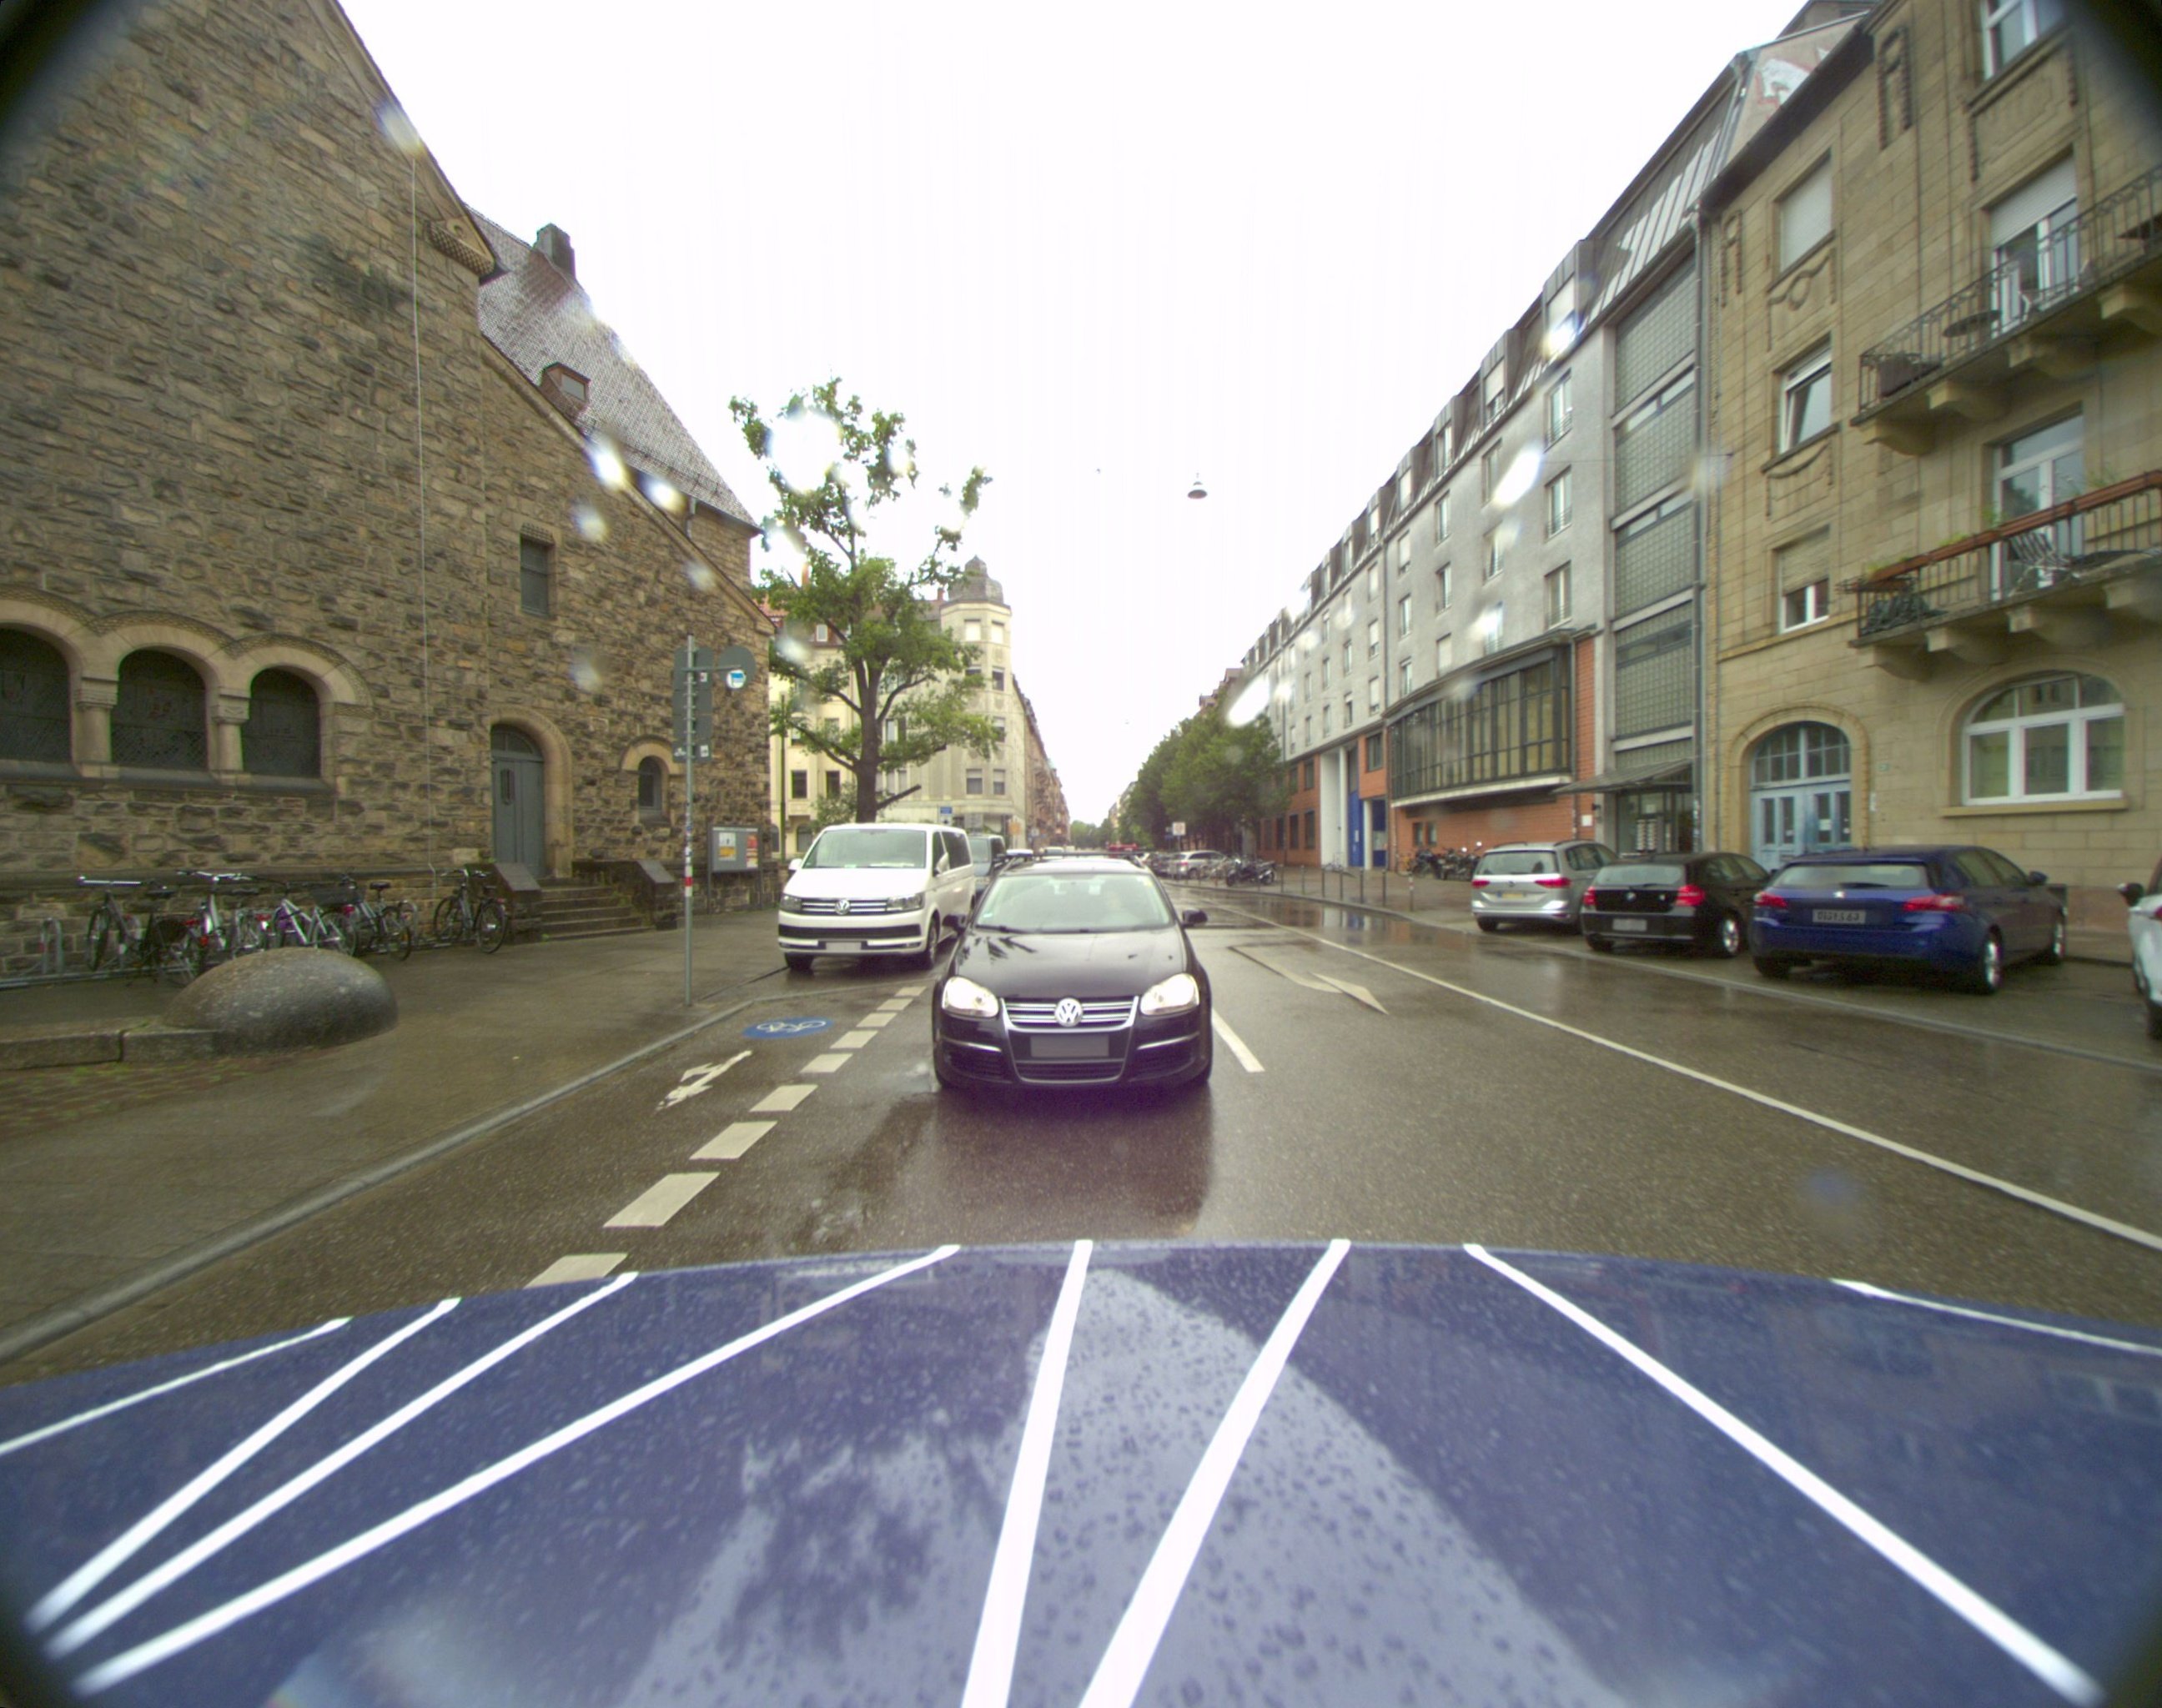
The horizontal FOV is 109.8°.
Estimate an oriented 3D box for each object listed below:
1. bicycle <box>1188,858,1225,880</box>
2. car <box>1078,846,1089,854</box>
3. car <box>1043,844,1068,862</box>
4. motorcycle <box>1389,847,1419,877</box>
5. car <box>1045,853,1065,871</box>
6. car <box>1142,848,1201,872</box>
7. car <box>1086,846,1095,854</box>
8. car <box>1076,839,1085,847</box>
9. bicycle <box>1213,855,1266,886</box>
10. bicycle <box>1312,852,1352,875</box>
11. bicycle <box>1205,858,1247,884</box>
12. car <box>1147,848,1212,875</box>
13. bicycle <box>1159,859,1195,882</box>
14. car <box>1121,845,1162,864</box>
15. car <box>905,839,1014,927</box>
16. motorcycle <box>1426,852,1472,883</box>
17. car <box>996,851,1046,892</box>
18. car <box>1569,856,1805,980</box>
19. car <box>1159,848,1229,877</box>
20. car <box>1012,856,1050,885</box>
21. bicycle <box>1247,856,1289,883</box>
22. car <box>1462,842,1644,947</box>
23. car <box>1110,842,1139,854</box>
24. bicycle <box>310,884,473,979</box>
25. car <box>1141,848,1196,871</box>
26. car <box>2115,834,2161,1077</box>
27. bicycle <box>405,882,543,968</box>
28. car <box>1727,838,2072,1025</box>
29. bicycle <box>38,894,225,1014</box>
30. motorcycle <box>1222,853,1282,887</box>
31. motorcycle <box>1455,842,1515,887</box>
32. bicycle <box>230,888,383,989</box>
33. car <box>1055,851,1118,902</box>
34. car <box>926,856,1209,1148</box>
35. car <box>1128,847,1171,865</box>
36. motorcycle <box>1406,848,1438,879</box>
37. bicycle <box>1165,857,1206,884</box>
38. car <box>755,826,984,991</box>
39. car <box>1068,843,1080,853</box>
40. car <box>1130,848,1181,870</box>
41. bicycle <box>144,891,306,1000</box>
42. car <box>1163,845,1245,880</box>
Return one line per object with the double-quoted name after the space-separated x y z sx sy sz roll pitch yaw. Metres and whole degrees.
6.131 0.735 37.102 1.688 1.067 0.544 -1 1 -2 "bicycle"
0.476 -0.824 162.693 1.998 1.705 4.376 0 1 5 "car"
-2.074 -0.078 63.327 1.921 1.470 4.220 0 1 1 "car"
13.626 0.332 32.110 0.546 1.221 1.676 0 1 1 "motorcycle"
-1.914 0.568 56.370 1.356 1.285 3.013 0 1 1 "car"
6.534 0.431 54.879 3.803 1.705 1.998 0 1 -10 "car"
2.244 -0.903 177.437 1.998 1.705 4.376 0 1 5 "car"
-0.036 -2.629 185.709 1.837 1.827 4.001 0 1 5 "car"
6.739 0.694 32.373 2.049 1.165 0.773 -3 1 -2 "bicycle"
13.526 0.484 40.955 1.901 1.217 0.938 0 1 26 "bicycle"
6.341 0.738 33.337 1.688 1.067 0.544 -3 1 -2 "bicycle"
6.361 0.488 49.293 3.803 1.705 1.998 0 1 -10 "car"
4.807 0.818 38.060 1.688 1.067 0.544 2 1 -2 "bicycle"
6.576 0.032 82.562 4.006 2.002 1.995 0 1 -28 "car"
-2.729 0.588 18.055 1.837 1.835 4.295 0 1 1 "car"
13.594 0.467 28.132 0.599 1.095 2.362 0 1 1 "motorcycle"
-2.394 0.653 31.103 1.674 1.540 3.918 0 1 1 "car"
9.074 0.817 11.316 3.734 1.519 1.713 0 1 -34 "car"
6.859 0.488 46.215 3.803 1.705 1.998 0 1 -10 "car"
-2.389 0.766 37.022 1.558 1.285 3.662 0 1 1 "car"
8.197 0.671 33.317 1.688 1.067 0.544 -3 1 -2 "bicycle"
9.012 0.646 14.396 3.931 1.720 1.811 -1 1 -41 "car"
6.272 -0.832 110.316 3.809 1.705 1.995 0 1 -33 "car"
-8.829 0.945 9.720 2.150 1.054 0.679 0 1 22 "bicycle"
6.660 0.423 58.297 3.803 1.705 1.998 0 1 -10 "car"
9.536 0.675 5.862 3.734 1.617 1.774 -3 1 -37 "car"
-8.428 0.949 10.538 1.978 1.060 0.607 0 1 23 "bicycle"
9.374 0.684 8.678 3.732 1.519 1.897 -4 3 -30 "car"
-9.717 0.978 7.774 1.924 1.054 0.582 0 1 20 "bicycle"
7.044 0.643 31.402 2.255 1.302 0.758 -2 1 1 "motorcycle"
13.503 0.332 25.503 0.777 1.455 2.362 0 1 1 "motorcycle"
-9.225 0.966 9.044 1.923 1.054 0.582 0 1 22 "bicycle"
0.180 0.637 23.325 1.766 1.430 3.748 0 1 1 "car"
-0.048 0.817 6.200 1.547 1.553 4.070 0 1 1 "car"
6.661 0.197 74.128 3.803 1.705 1.904 0 1 -10 "car"
13.595 0.363 30.344 0.546 1.221 1.676 0 1 1 "motorcycle"
4.782 0.768 34.858 1.687 1.067 0.544 -6 1 -2 "bicycle"
-2.780 0.606 11.429 1.909 1.911 5.272 0 1 1 "car"
-1.320 -1.127 141.250 1.998 1.705 3.803 0 1 5 "car"
6.078 0.379 62.188 3.803 1.705 1.998 0 1 -10 "car"
-9.549 0.970 8.468 1.923 1.054 0.582 0 1 22 "bicycle"
6.697 0.430 41.498 4.005 1.804 1.995 0 1 -26 "car"
